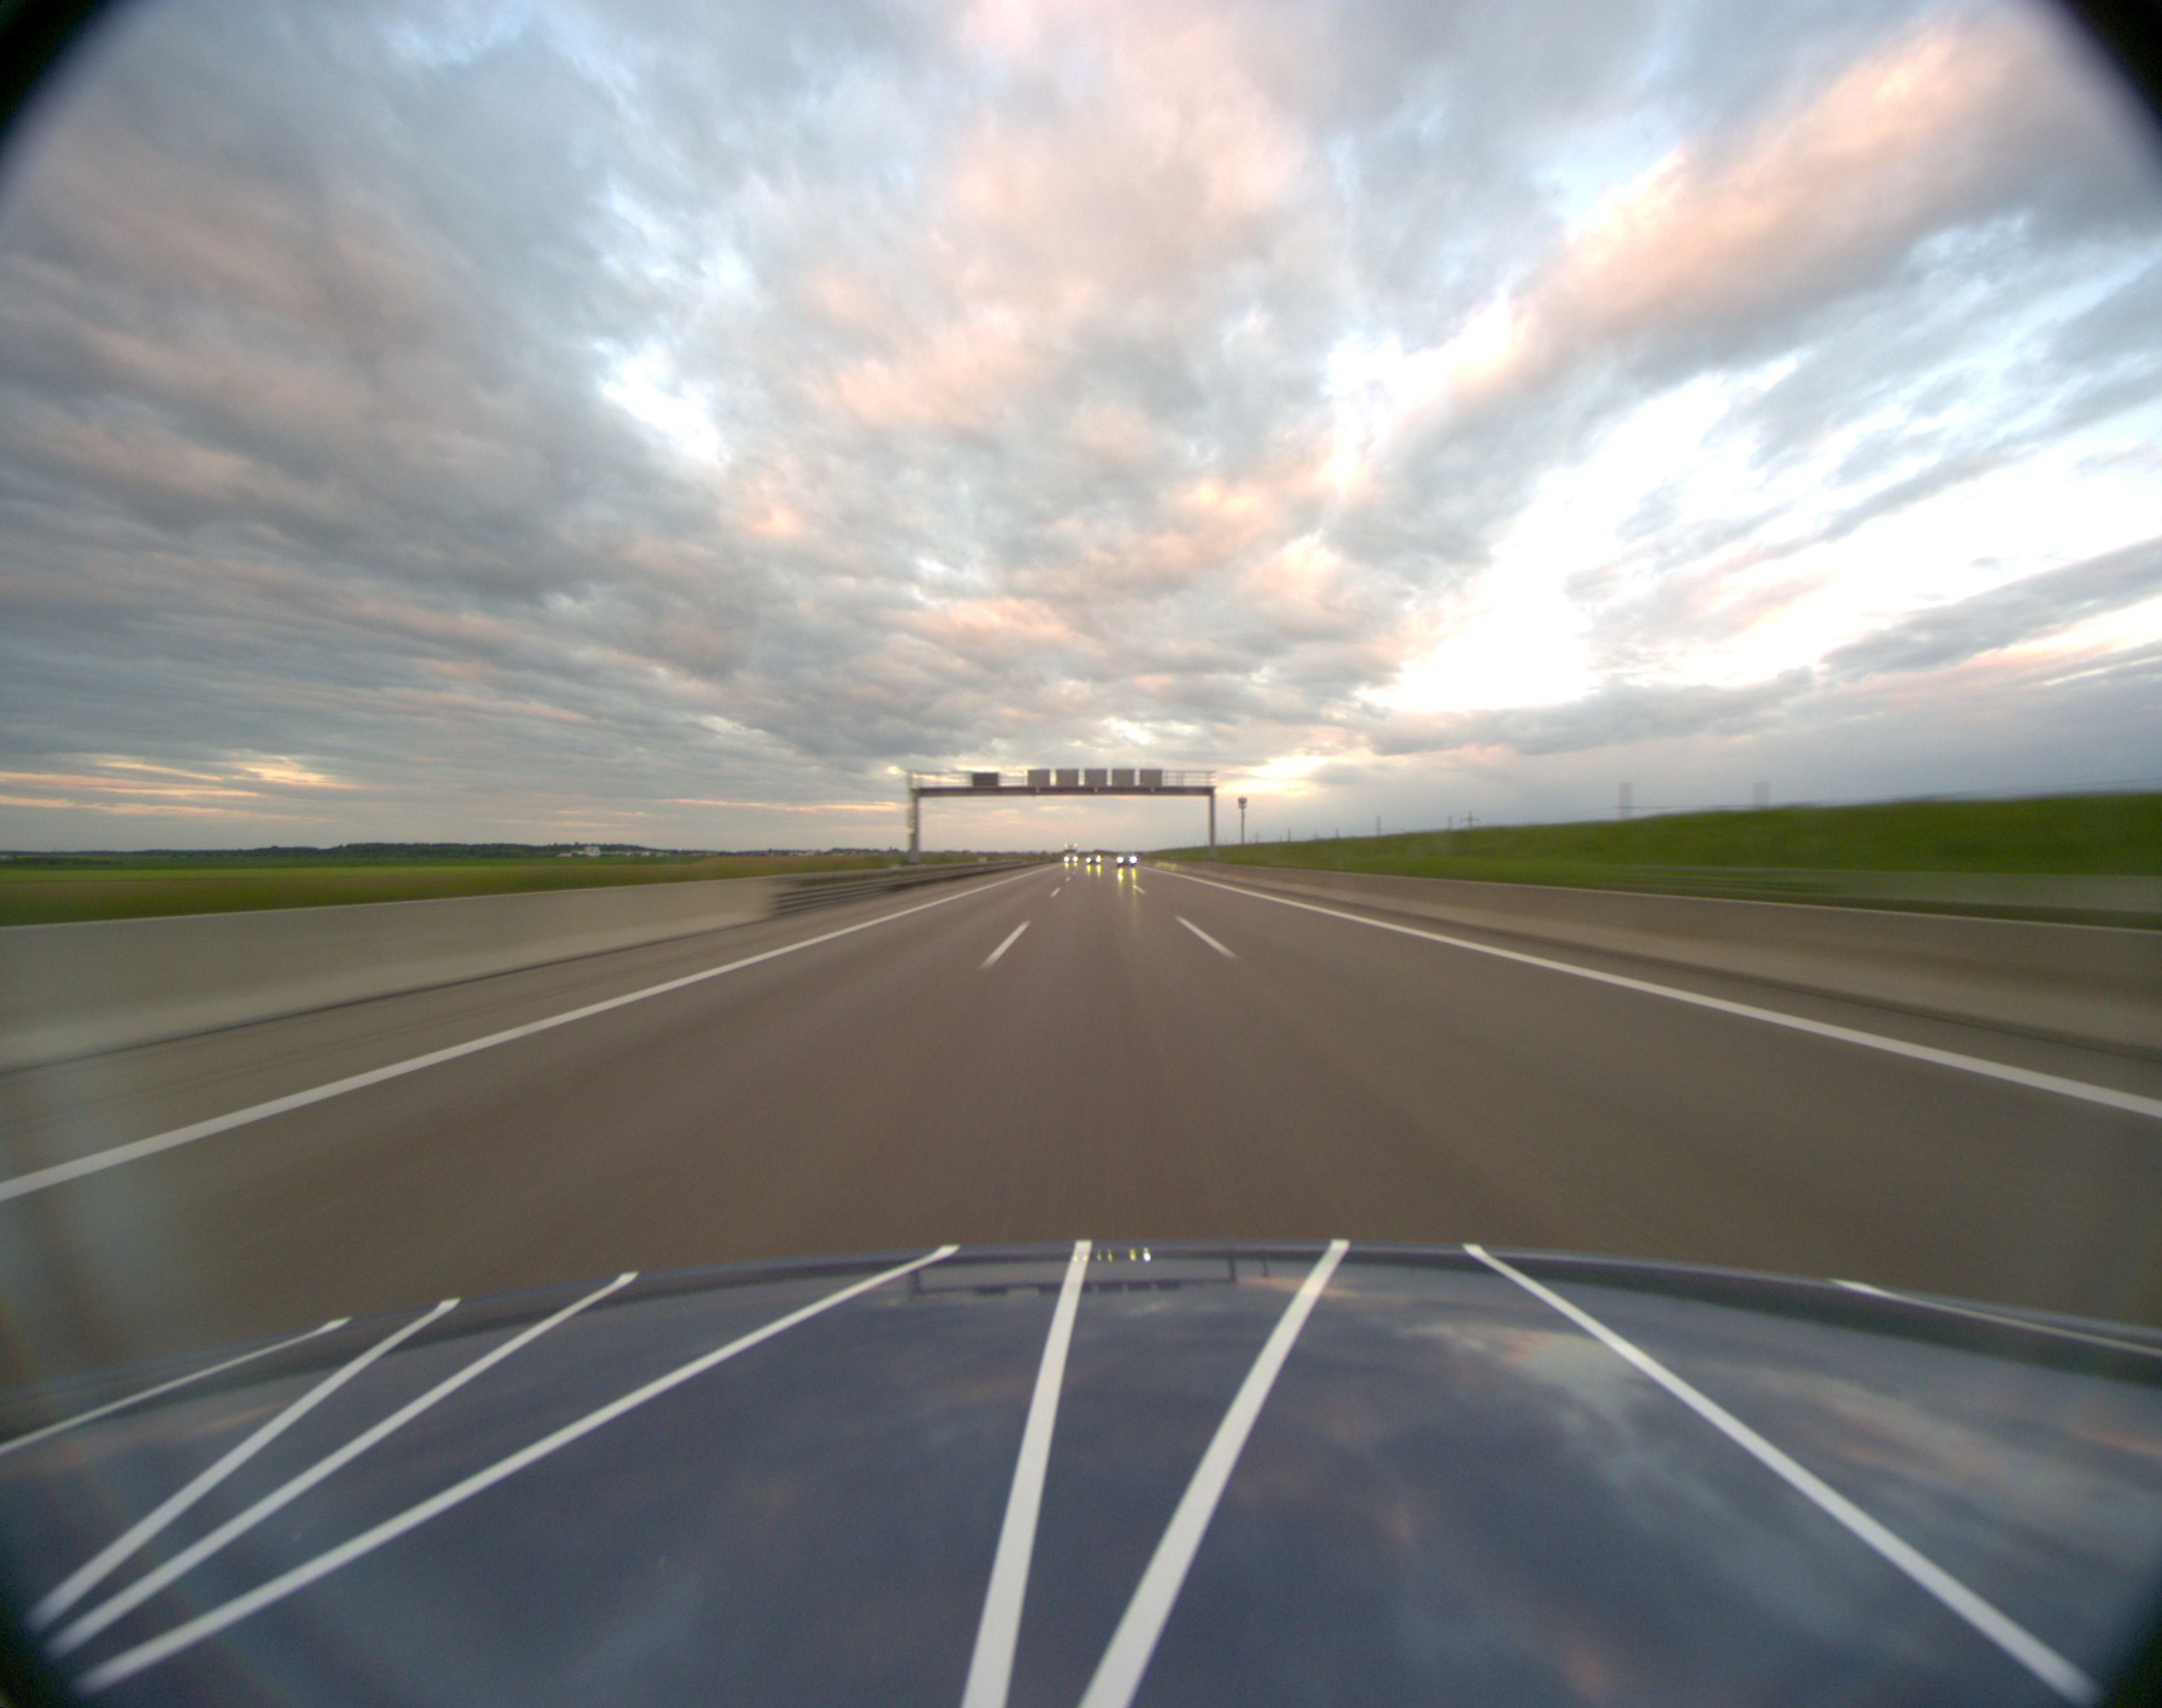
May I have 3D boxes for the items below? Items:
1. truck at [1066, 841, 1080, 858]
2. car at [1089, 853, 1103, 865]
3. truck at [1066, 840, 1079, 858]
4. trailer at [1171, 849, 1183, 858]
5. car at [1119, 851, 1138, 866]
[{"bbox_3d":[-1.767,-1.015,179.226,2.596,3.999,12.987,-1,0,2],"label":"truck"},{"bbox_3d":[2.221,0.731,114.845,1.998,1.652,4.851,-2,0,1],"label":"car"},{"bbox_3d":[-1.999,-1.055,172.746,2.596,3.999,5.860,-1,0,2],"label":"truck"},{"bbox_3d":[17.841,-0.082,141.107,1.689,1.543,3.929,-1,0,1],"label":"trailer"},{"bbox_3d":[5.401,0.515,87.248,1.998,1.652,4.000,-2,0,1],"label":"car"}]
